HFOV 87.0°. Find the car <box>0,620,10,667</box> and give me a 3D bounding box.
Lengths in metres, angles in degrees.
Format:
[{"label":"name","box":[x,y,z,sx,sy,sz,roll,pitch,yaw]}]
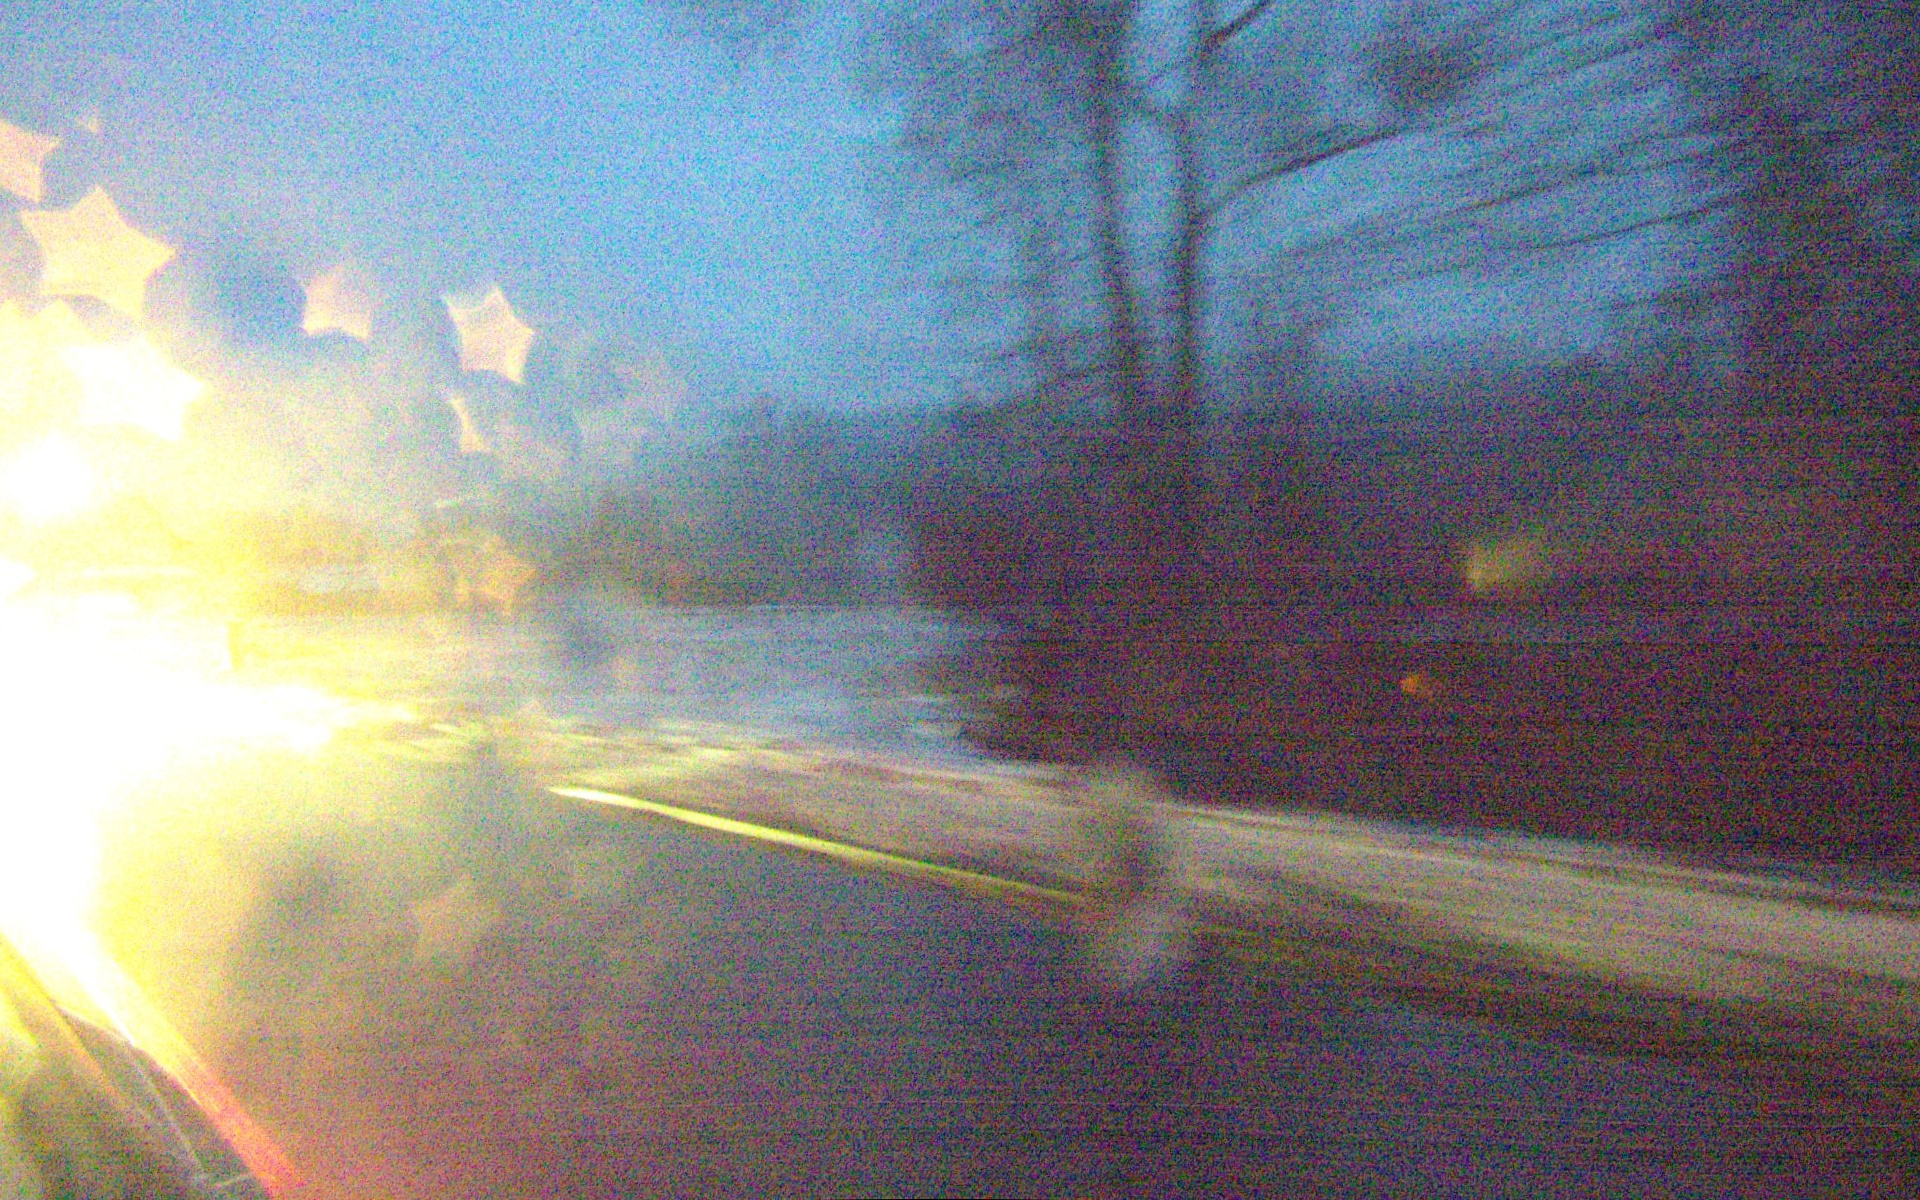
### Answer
[{"label":"car","box":[-33.867,1.493,34.493,4.203,1.486,1.894,0,1,43]}]
